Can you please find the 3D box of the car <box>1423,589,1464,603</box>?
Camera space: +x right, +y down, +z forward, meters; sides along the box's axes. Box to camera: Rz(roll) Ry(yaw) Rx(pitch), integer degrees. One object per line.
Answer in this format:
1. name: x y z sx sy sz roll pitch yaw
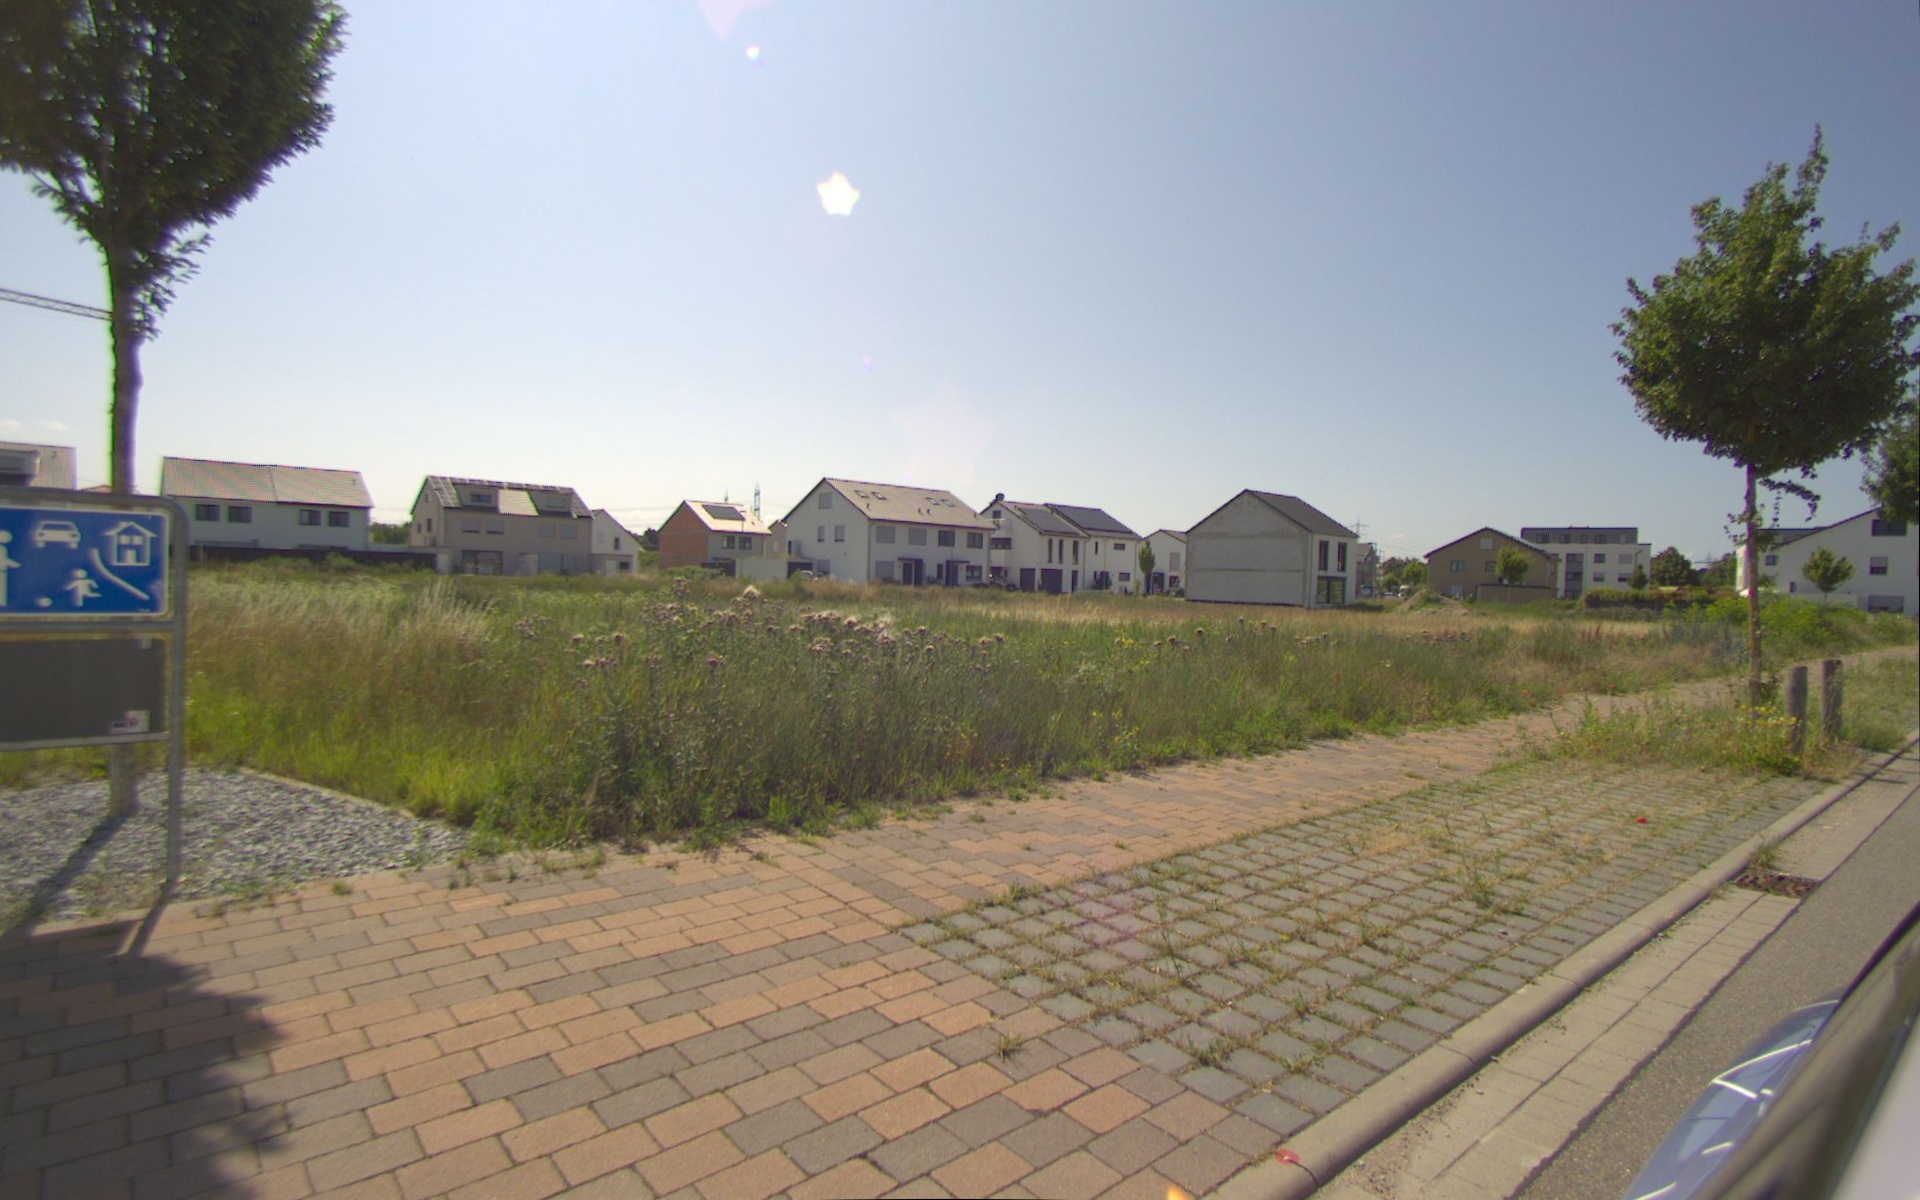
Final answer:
1. car: 56.752 -0.497 118.830 3.984 1.471 1.610 3 1 41
